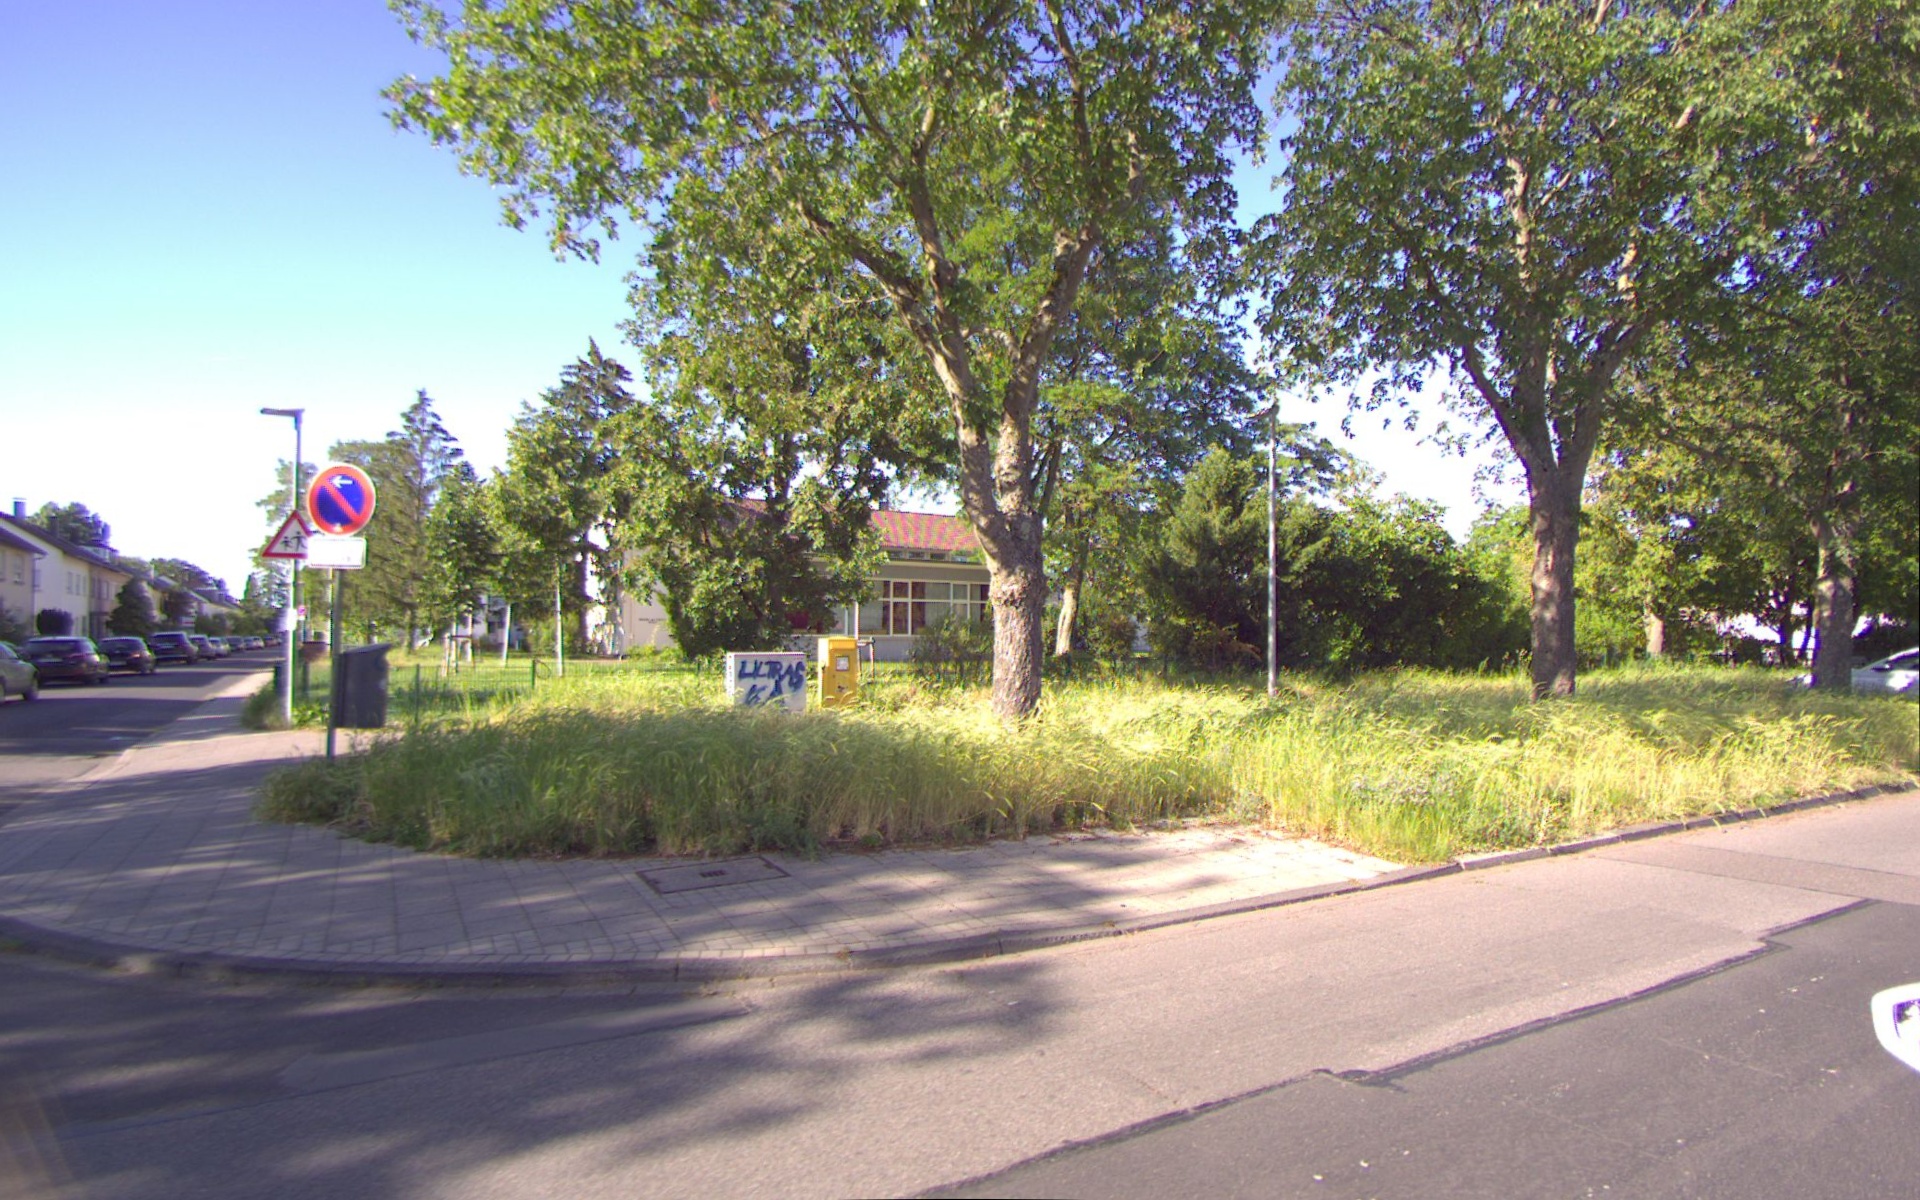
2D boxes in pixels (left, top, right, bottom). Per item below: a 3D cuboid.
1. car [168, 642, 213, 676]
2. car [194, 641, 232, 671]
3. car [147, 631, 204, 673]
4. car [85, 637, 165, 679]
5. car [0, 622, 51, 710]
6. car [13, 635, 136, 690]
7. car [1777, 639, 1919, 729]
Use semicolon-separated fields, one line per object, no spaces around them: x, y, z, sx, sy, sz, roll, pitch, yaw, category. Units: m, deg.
-49.522;3.763;64.718;1.979;2.040;3.963;1;-2;-34;car
-53.861;4.021;72.470;1.979;2.040;3.963;1;-2;-34;car
-41.973;2.753;53.816;1.978;1.974;3.964;2;1;-32;car
-32.154;2.193;38.796;1.799;1.560;3.836;1;-2;-31;car
-21.499;1.381;21.625;1.976;1.844;3.969;1;-2;-30;car
-26.893;1.859;30.665;1.976;1.560;3.969;1;-2;-29;car
17.525;1.488;17.564;1.975;1.523;4.653;2;-2;-28;car
